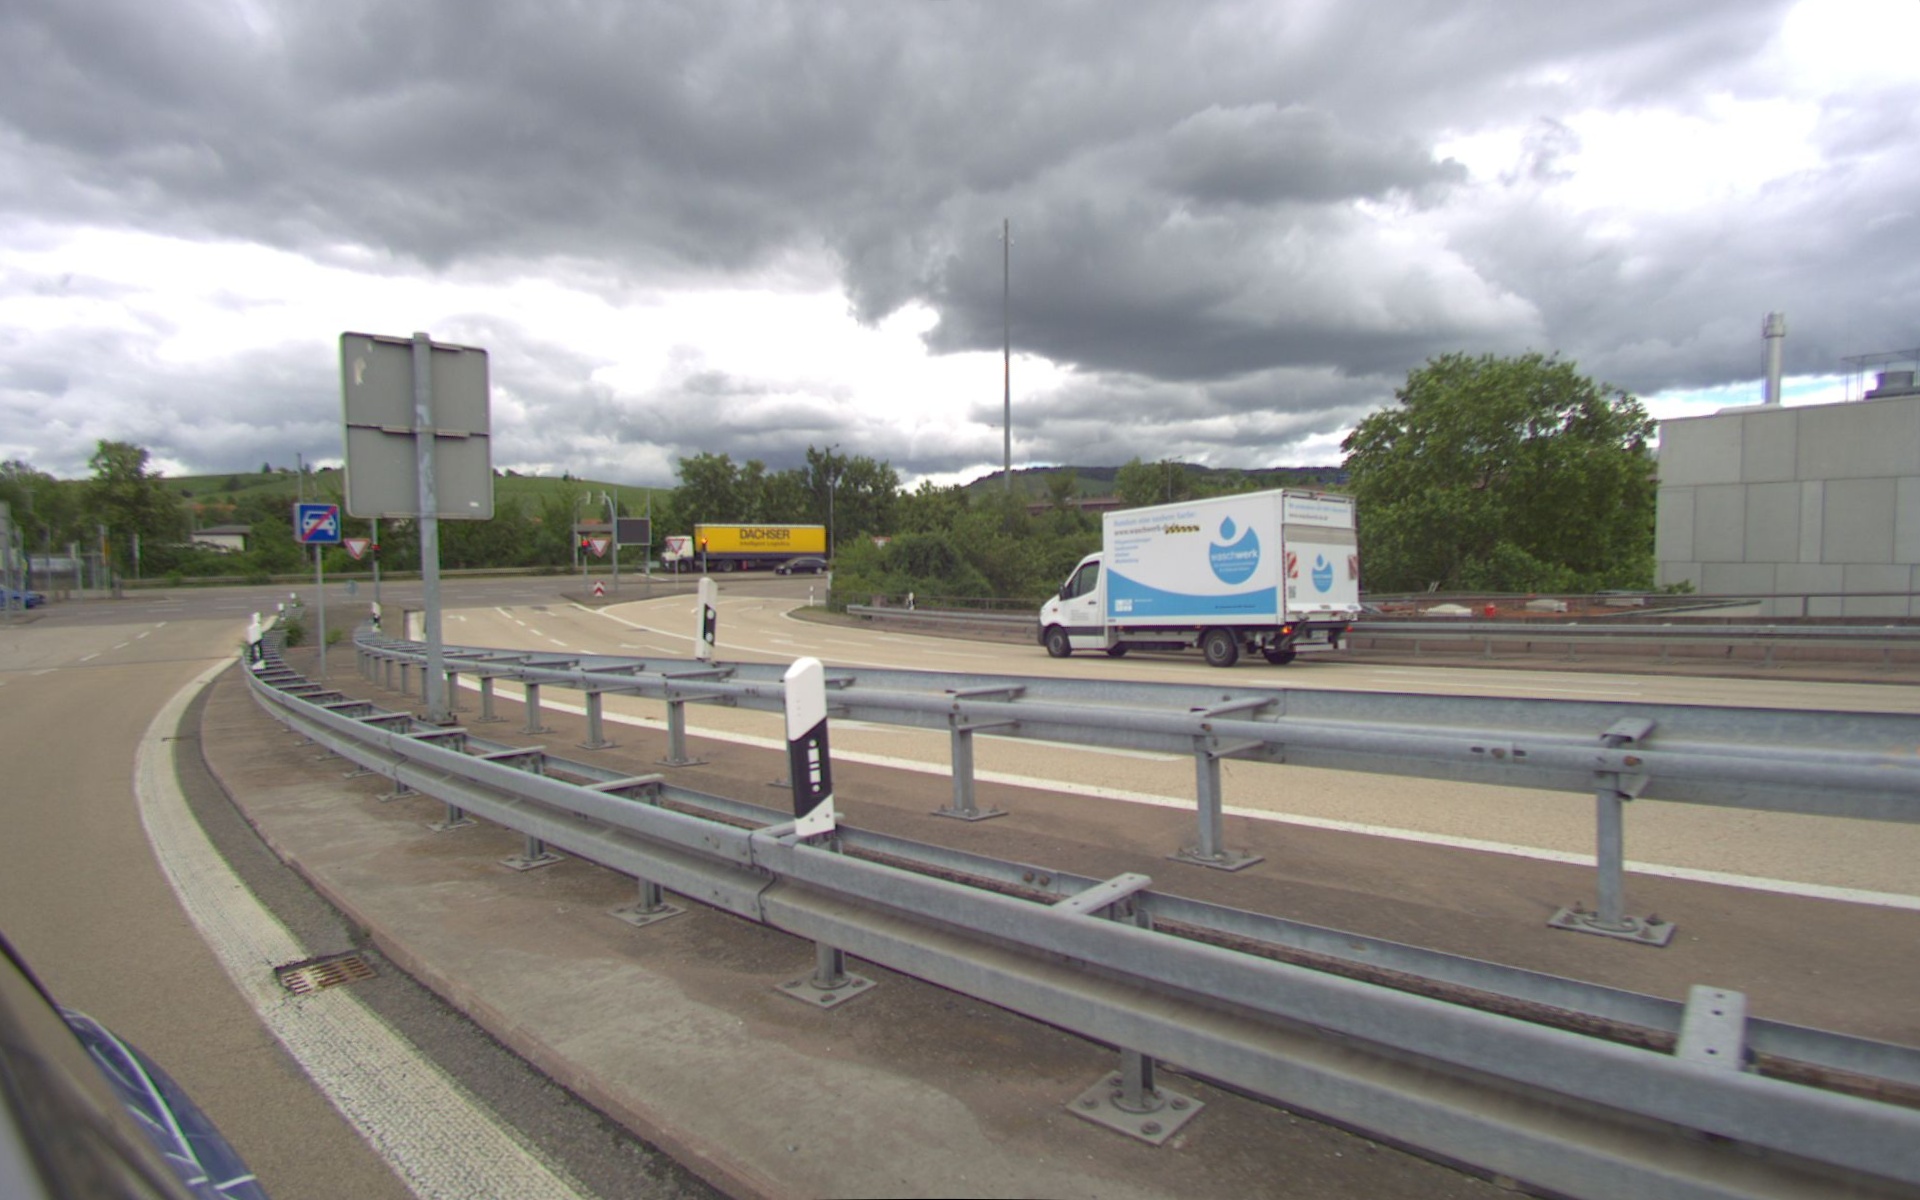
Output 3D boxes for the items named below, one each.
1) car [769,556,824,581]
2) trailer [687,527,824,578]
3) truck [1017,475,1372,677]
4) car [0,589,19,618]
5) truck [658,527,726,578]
[{"bbox_3d":[-13.485,-2.603,83.586,4.056,1.673,1.634,-6,7,-29],"label":"car"},{"bbox_3d":[-17.886,-4.264,89.014,11.456,4.235,2.644,-2,4,-27],"label":"trailer"},{"bbox_3d":[4.253,-0.418,19.949,2.314,3.288,7.011,0,0,-36],"label":"truck"},{"bbox_3d":[-53.469,0.281,53.983,4.464,1.464,1.616,-3,5,-26],"label":"car"},{"bbox_3d":[-22.888,-4.066,86.429,5.014,4.235,2.644,-2,4,-27],"label":"truck"}]
